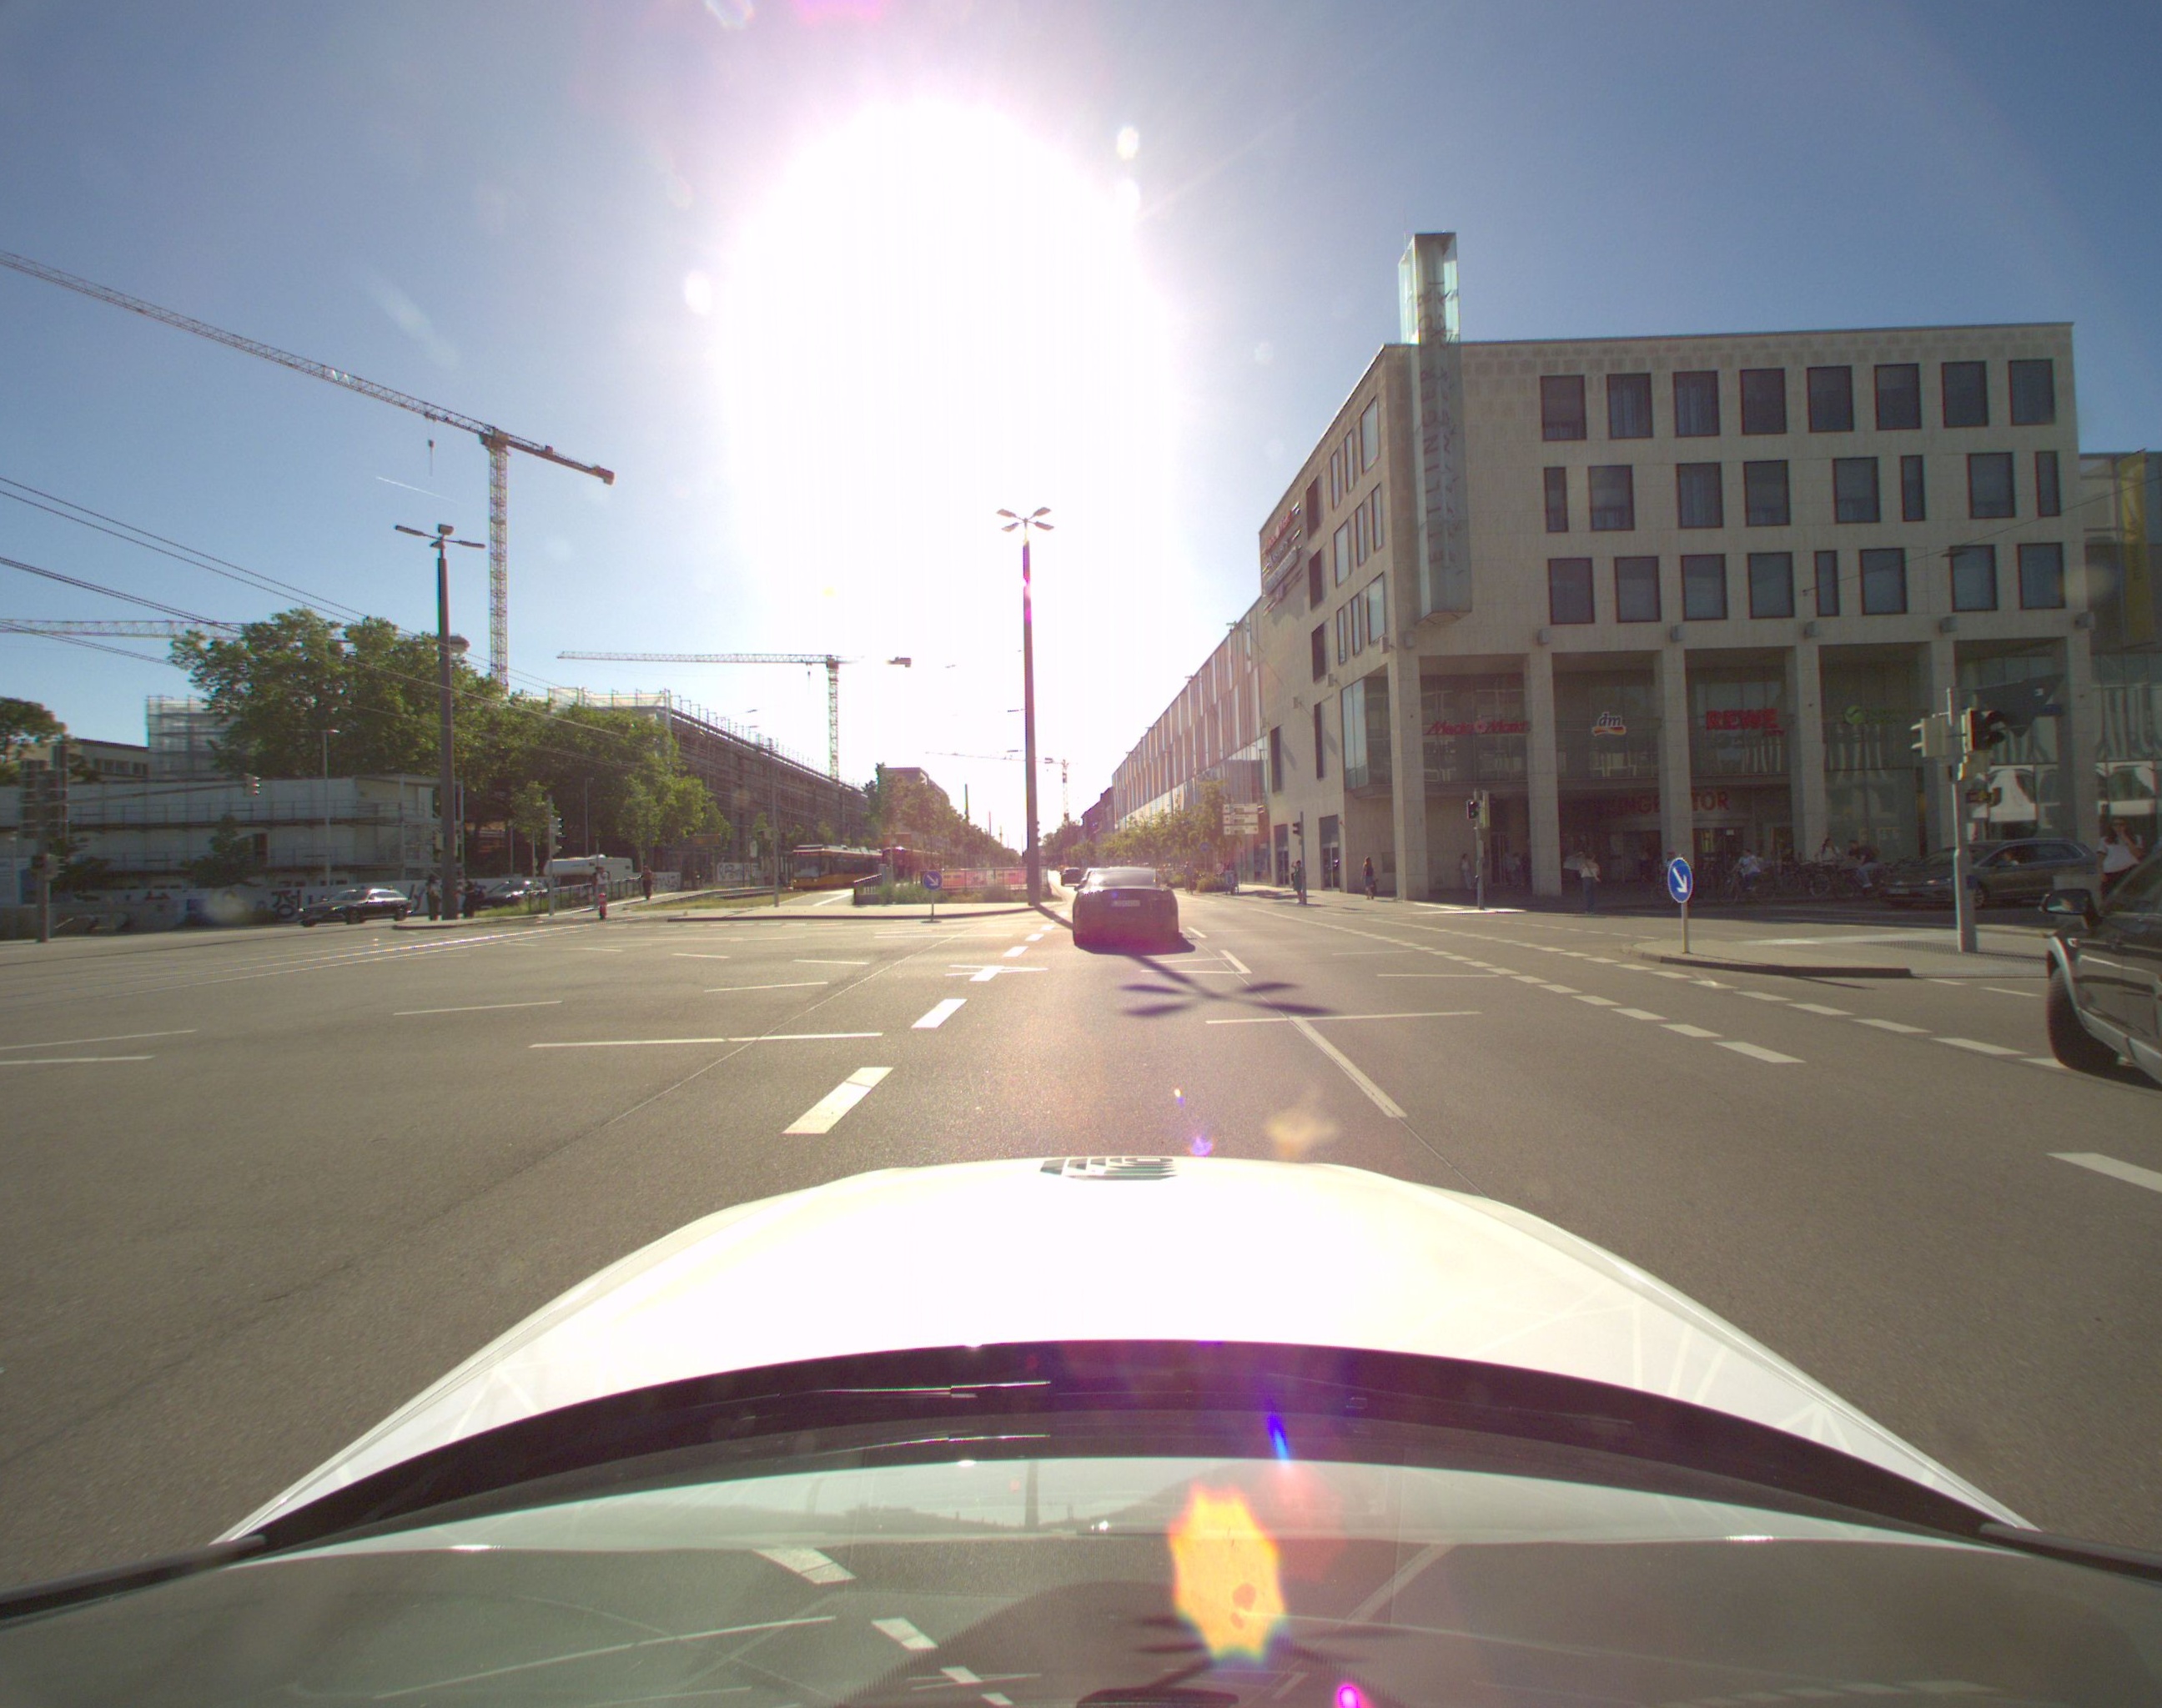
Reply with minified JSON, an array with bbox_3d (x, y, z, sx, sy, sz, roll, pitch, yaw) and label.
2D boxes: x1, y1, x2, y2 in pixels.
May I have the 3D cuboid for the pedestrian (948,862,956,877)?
[{"bbox_3d":[-14.240,1.675,89.956,0.739,1.628,0.861,-1,-1,-2],"label":"pedestrian"}]

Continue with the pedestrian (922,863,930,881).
[{"bbox_3d":[-13.365,1.571,70.253,0.646,1.512,0.587,0,0,-6],"label":"pedestrian"}]

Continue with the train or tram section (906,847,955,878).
[{"bbox_3d":[-17.823,1.096,98.031,2.864,3.280,22.116,0,-1,-3],"label":"train or tram section"}]

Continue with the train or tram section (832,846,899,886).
[{"bbox_3d":[-19.742,1.079,75.944,2.841,3.321,15.946,0,-1,-3],"label":"train or tram section"}]

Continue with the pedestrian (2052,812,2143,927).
[{"bbox_3d":[14.957,0.223,11.988,0.660,1.612,0.525,-3,-1,-12],"label":"pedestrian"}]

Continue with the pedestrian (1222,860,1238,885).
[{"bbox_3d":[10.325,1.292,56.419,0.706,1.658,0.898,-3,-1,-7],"label":"pedestrian"}]

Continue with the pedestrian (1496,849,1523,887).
[{"bbox_3d":[18.704,0.608,35.560,0.721,1.608,0.749,-2,0,-2],"label":"pedestrian"}]

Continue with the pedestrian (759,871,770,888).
[{"bbox_3d":[-23.178,1.866,59.618,0.670,1.226,0.505,0,-2,-6],"label":"pedestrian"}]

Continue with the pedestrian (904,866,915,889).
[{"bbox_3d":[-13.819,1.886,65.487,0.760,1.775,0.825,0,0,-5],"label":"pedestrian"}]

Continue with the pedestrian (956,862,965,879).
[{"bbox_3d":[-11.740,1.627,79.126,0.739,1.628,0.861,-1,-1,-2],"label":"pedestrian"}]

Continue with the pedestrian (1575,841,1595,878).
[{"bbox_3d":[24.399,0.273,39.437,0.559,1.762,0.643,-2,0,-39],"label":"pedestrian"}]

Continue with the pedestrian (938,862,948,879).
[{"bbox_3d":[-13.363,1.600,78.819,0.739,1.628,0.861,-1,-1,-2],"label":"pedestrian"}]

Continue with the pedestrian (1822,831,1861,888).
[{"bbox_3d":[26.041,0.202,27.890,0.638,1.907,0.734,-1,-1,-26],"label":"pedestrian"}]

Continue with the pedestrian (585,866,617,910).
[{"bbox_3d":[-20.629,1.445,35.042,0.799,1.823,0.974,-2,-1,-6],"label":"pedestrian"}]

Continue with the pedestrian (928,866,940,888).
[{"bbox_3d":[-11.241,1.739,62.368,0.739,1.628,0.861,-1,-1,-2],"label":"pedestrian"}]

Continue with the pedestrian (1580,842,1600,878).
[{"bbox_3d":[24.920,0.284,39.903,0.559,1.762,0.643,-2,0,-39],"label":"pedestrian"}]

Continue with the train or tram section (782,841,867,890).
[{"bbox_3d":[-19.008,0.876,61.489,2.864,3.310,13.056,0,-1,-3],"label":"train or tram section"}]

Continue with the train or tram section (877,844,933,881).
[{"bbox_3d":[-16.878,0.828,79.394,2.864,3.280,15.166,0,-1,-3],"label":"train or tram section"}]

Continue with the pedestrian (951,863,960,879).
[{"bbox_3d":[-13.297,1.776,86.190,0.739,1.628,0.946,-1,-1,-2],"label":"pedestrian"}]

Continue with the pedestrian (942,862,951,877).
[{"bbox_3d":[-14.344,1.661,86.862,0.739,1.628,0.861,-1,-1,-2],"label":"pedestrian"}]

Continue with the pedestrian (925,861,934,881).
[{"bbox_3d":[-13.950,1.525,74.927,0.670,1.811,1.073,-2,-1,-4],"label":"pedestrian"}]

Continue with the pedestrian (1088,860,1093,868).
[{"bbox_3d":[2.154,2.272,184.309,0.850,1.863,0.928,-2,-1,-5],"label":"pedestrian"}]

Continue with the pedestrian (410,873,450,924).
[{"bbox_3d":[-23.776,1.618,29.735,0.792,1.823,0.887,-2,-1,29],"label":"pedestrian"}]

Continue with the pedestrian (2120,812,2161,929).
[{"bbox_3d":[15.205,0.218,11.385,0.660,1.612,0.525,-3,-1,-12],"label":"pedestrian"}]

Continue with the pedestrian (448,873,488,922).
[{"bbox_3d":[-23.649,1.657,31.434,0.799,1.823,0.974,-2,-1,-6],"label":"pedestrian"}]

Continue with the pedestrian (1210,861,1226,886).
[{"bbox_3d":[9.470,1.352,56.453,0.820,1.658,0.898,-1,-1,-7],"label":"pedestrian"}]

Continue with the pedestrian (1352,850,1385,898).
[{"bbox_3d":[11.208,0.765,31.779,0.726,1.801,1.065,-4,-1,-3],"label":"pedestrian"}]

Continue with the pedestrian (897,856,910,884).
[{"bbox_3d":[-11.399,1.013,52.194,0.702,1.775,0.957,0,0,-6],"label":"pedestrian"}]

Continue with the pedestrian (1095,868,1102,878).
[{"bbox_3d":[3.425,3.584,156.483,1.093,1.863,1.520,-2,-2,-5],"label":"pedestrian"}]

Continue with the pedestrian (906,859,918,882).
[{"bbox_3d":[-13.021,1.257,62.821,0.790,1.775,0.977,0,0,-6],"label":"pedestrian"}]

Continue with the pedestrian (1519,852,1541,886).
[{"bbox_3d":[21.754,0.715,39.435,0.559,1.608,0.741,-2,0,-40],"label":"pedestrian"}]

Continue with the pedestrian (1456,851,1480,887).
[{"bbox_3d":[17.241,0.662,36.319,0.746,1.608,0.556,-2,0,-4],"label":"pedestrian"}]

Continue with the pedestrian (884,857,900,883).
[{"bbox_3d":[-12.757,1.069,54.993,0.873,1.775,1.186,0,0,-6],"label":"pedestrian"}]

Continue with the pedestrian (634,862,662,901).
[{"bbox_3d":[-20.690,1.312,38.946,0.799,1.823,0.974,-2,-1,-6],"label":"pedestrian"}]

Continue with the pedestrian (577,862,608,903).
[{"bbox_3d":[-22.024,1.278,36.752,0.799,1.823,0.974,-2,-1,-6],"label":"pedestrian"}]

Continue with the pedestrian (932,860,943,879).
[{"bbox_3d":[-13.685,1.481,77.607,0.885,1.851,1.006,-1,-1,-3],"label":"pedestrian"}]
